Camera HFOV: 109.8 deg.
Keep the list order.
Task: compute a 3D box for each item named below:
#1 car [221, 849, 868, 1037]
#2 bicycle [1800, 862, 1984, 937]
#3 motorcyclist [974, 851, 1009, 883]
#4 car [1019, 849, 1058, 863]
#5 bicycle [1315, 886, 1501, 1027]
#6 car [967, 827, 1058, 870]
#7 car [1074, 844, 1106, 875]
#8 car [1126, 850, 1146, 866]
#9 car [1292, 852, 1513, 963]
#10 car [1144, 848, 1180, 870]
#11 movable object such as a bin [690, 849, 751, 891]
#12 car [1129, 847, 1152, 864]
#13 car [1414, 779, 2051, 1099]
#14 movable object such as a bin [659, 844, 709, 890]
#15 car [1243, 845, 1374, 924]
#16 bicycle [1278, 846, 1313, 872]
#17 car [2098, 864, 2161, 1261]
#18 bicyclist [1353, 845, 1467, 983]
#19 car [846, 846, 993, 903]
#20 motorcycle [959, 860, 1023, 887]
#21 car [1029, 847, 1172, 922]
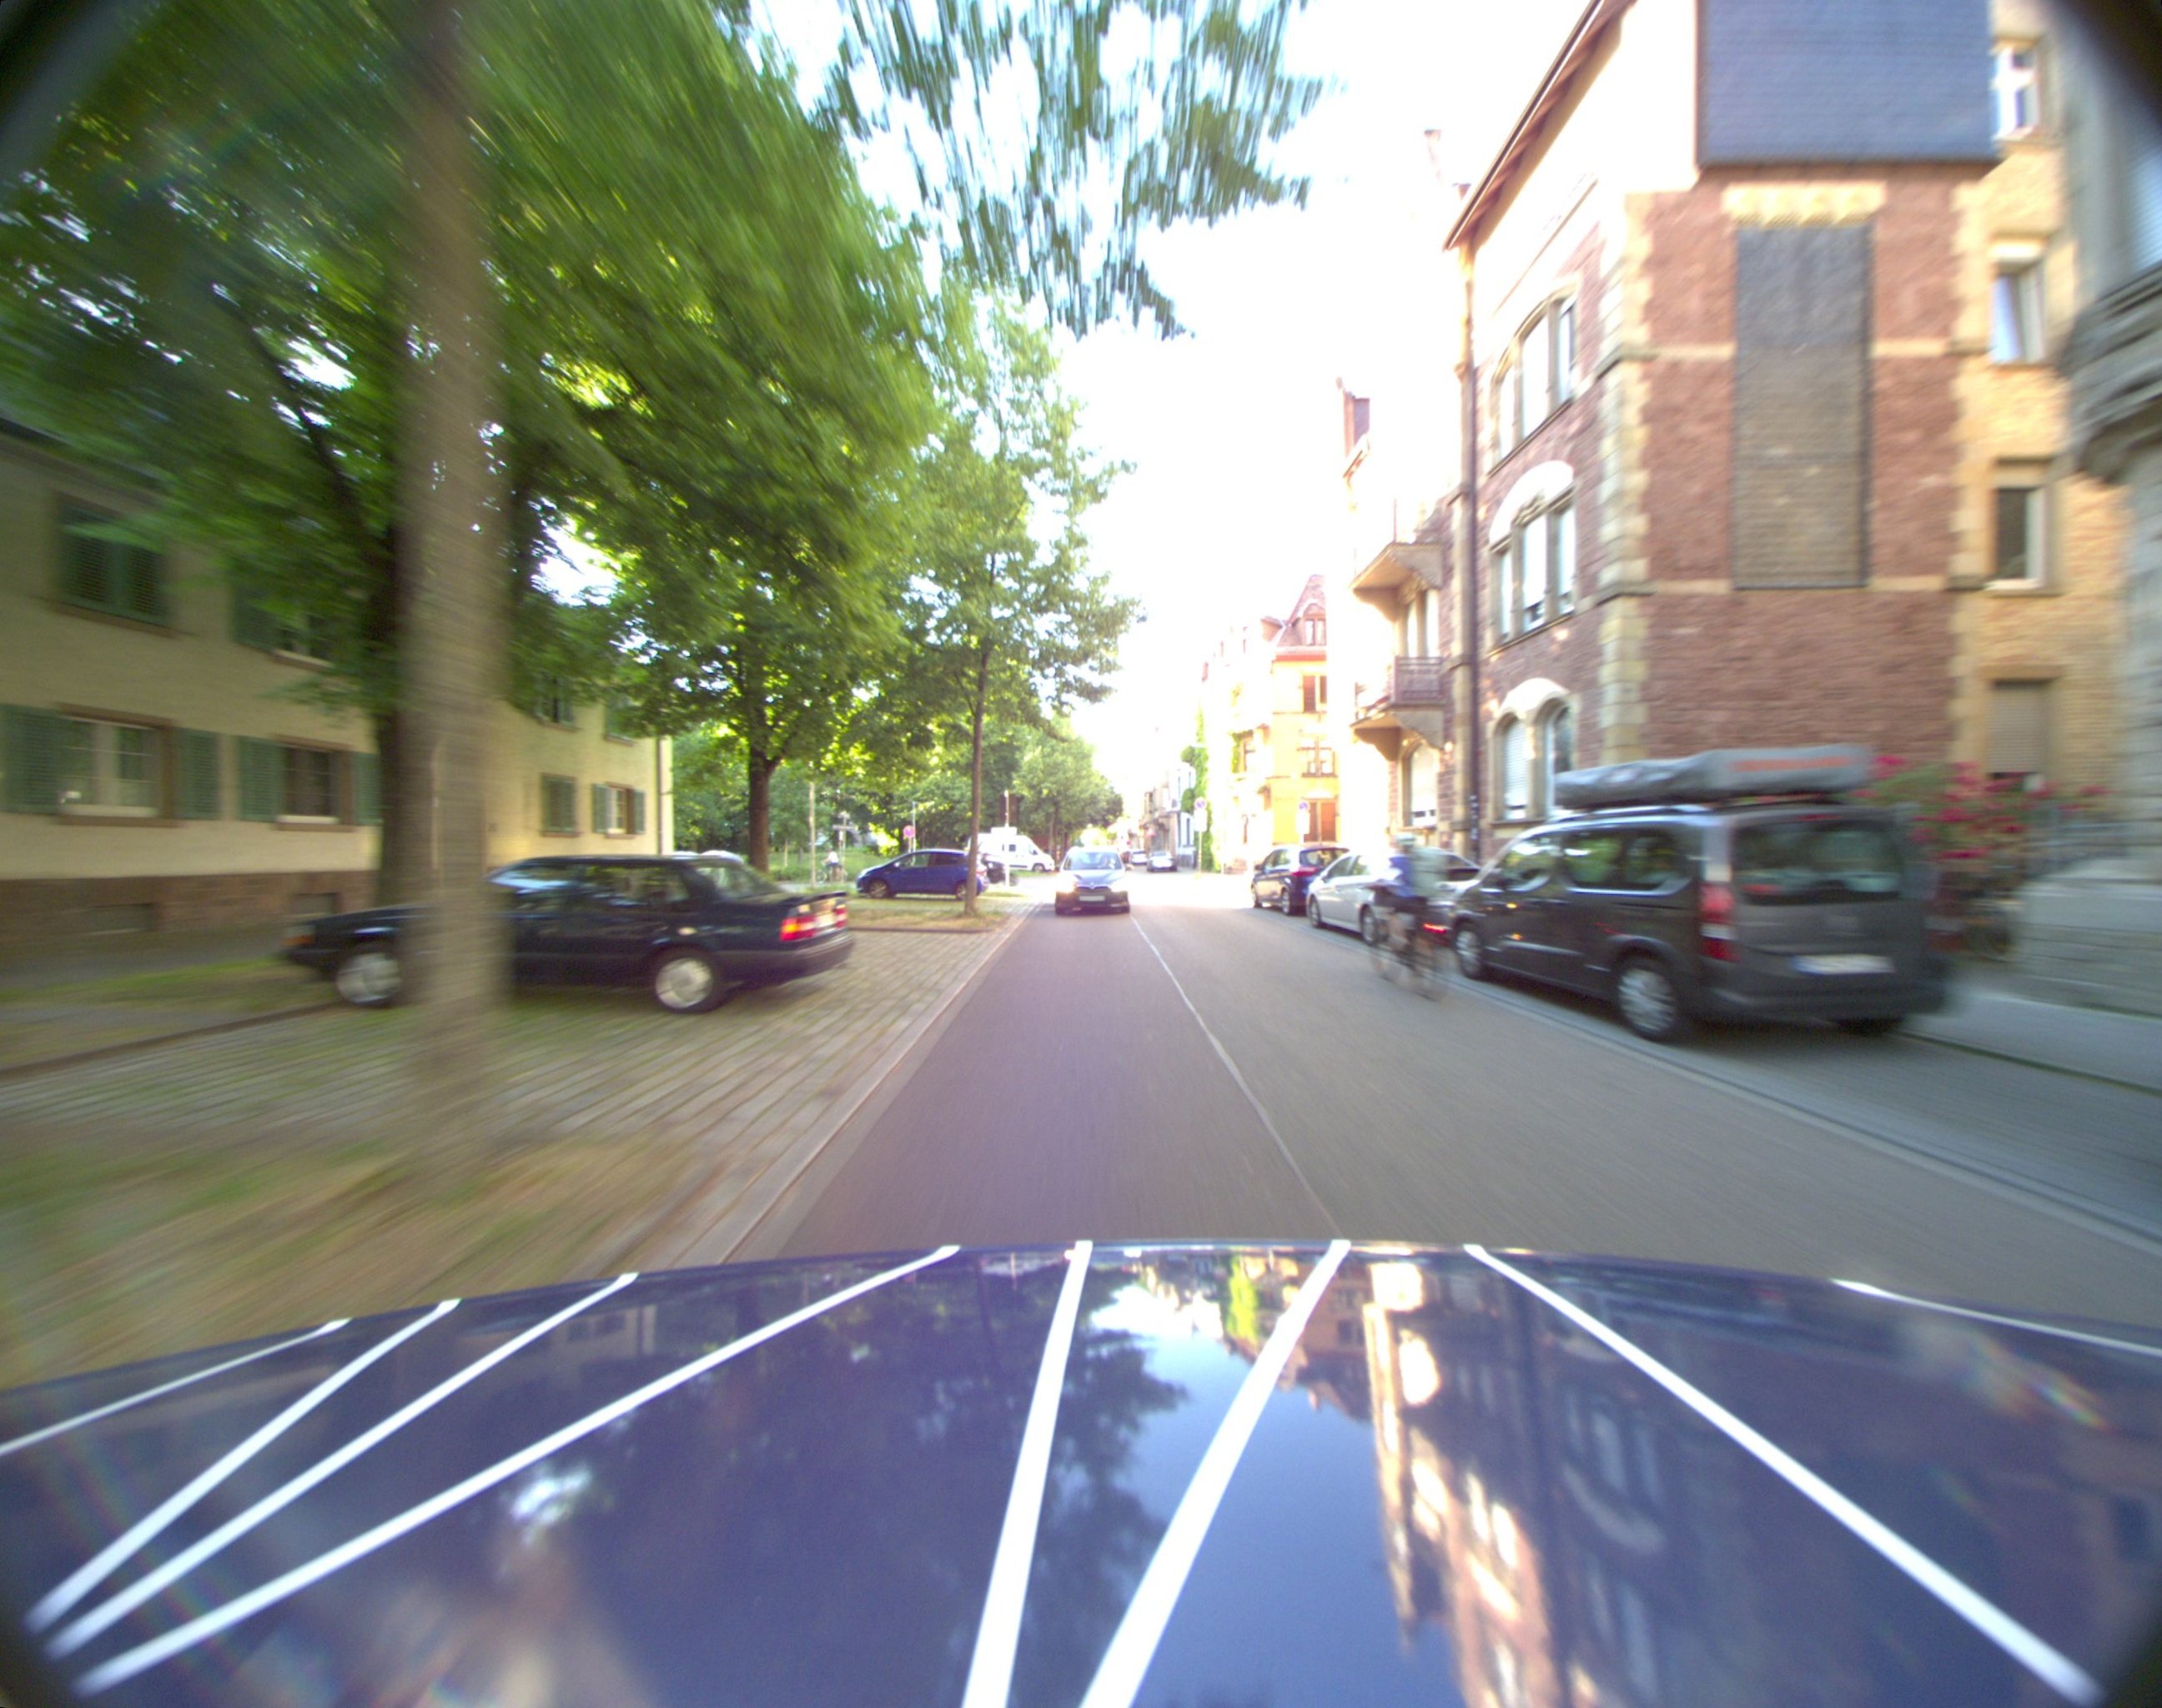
[{"bbox_3d":[-4.818,0.764,7.445,4.906,1.434,1.941,2,2,-1],"label":"car"},{"bbox_3d":[12.131,0.658,11.384,2.359,1.073,0.610,0,1,-7],"label":"bicycle"},{"bbox_3d":[-3.798,0.550,32.318,1.226,1.333,0.987,-1,1,7],"label":"motorcyclist"},{"bbox_3d":[-4.346,0.194,77.529,3.878,1.249,1.785,0,2,-1],"label":"car"},{"bbox_3d":[3.388,0.990,8.231,0.755,1.171,2.620,1,0,-3],"label":"bicycle"},{"bbox_3d":[-4.283,-0.373,48.406,5.628,2.600,2.238,0,2,-1],"label":"car"},{"bbox_3d":[0.466,0.288,42.811,1.648,1.581,4.019,-2,0,-1],"label":"car"},{"bbox_3d":[6.026,0.434,83.326,1.998,1.616,4.143,0,2,2],"label":"car"},{"bbox_3d":[5.115,0.741,12.834,1.734,1.490,4.454,-2,0,-2],"label":"car"},{"bbox_3d":[5.620,0.336,53.273,1.882,1.397,4.925,-2,0,0],"label":"car"},{"bbox_3d":[-14.854,0.623,31.361,1.638,1.648,1.592,0,2,8],"label":"movable object such as a bin"},{"bbox_3d":[5.818,0.087,74.730,1.867,1.538,3.791,0,2,0],"label":"car"},{"bbox_3d":[5.131,0.521,7.058,1.974,1.963,4.496,-2,1,-2],"label":"car"},{"bbox_3d":[-16.436,0.524,31.479,1.384,1.817,1.151,0,2,8],"label":"movable object such as a bin"},{"bbox_3d":[5.280,0.635,18.246,1.734,1.612,4.257,-2,0,-2],"label":"car"},{"bbox_3d":[10.755,0.238,38.106,1.600,1.261,0.565,-1,1,10],"label":"bicycle"},{"bbox_3d":[5.077,0.891,0.799,1.733,1.565,4.707,0,2,2],"label":"car"},{"bbox_3d":[3.389,0.587,7.923,0.667,1.337,1.060,1,0,-3],"label":"bicyclist"},{"bbox_3d":[-4.773,0.580,22.919,3.998,1.547,1.999,1,2,-2],"label":"car"},{"bbox_3d":[-3.804,0.821,32.344,2.516,1.095,0.987,-1,1,7],"label":"motorcycle"},{"bbox_3d":[0.645,0.643,18.860,1.886,1.612,4.626,1,1,24],"label":"car"}]
